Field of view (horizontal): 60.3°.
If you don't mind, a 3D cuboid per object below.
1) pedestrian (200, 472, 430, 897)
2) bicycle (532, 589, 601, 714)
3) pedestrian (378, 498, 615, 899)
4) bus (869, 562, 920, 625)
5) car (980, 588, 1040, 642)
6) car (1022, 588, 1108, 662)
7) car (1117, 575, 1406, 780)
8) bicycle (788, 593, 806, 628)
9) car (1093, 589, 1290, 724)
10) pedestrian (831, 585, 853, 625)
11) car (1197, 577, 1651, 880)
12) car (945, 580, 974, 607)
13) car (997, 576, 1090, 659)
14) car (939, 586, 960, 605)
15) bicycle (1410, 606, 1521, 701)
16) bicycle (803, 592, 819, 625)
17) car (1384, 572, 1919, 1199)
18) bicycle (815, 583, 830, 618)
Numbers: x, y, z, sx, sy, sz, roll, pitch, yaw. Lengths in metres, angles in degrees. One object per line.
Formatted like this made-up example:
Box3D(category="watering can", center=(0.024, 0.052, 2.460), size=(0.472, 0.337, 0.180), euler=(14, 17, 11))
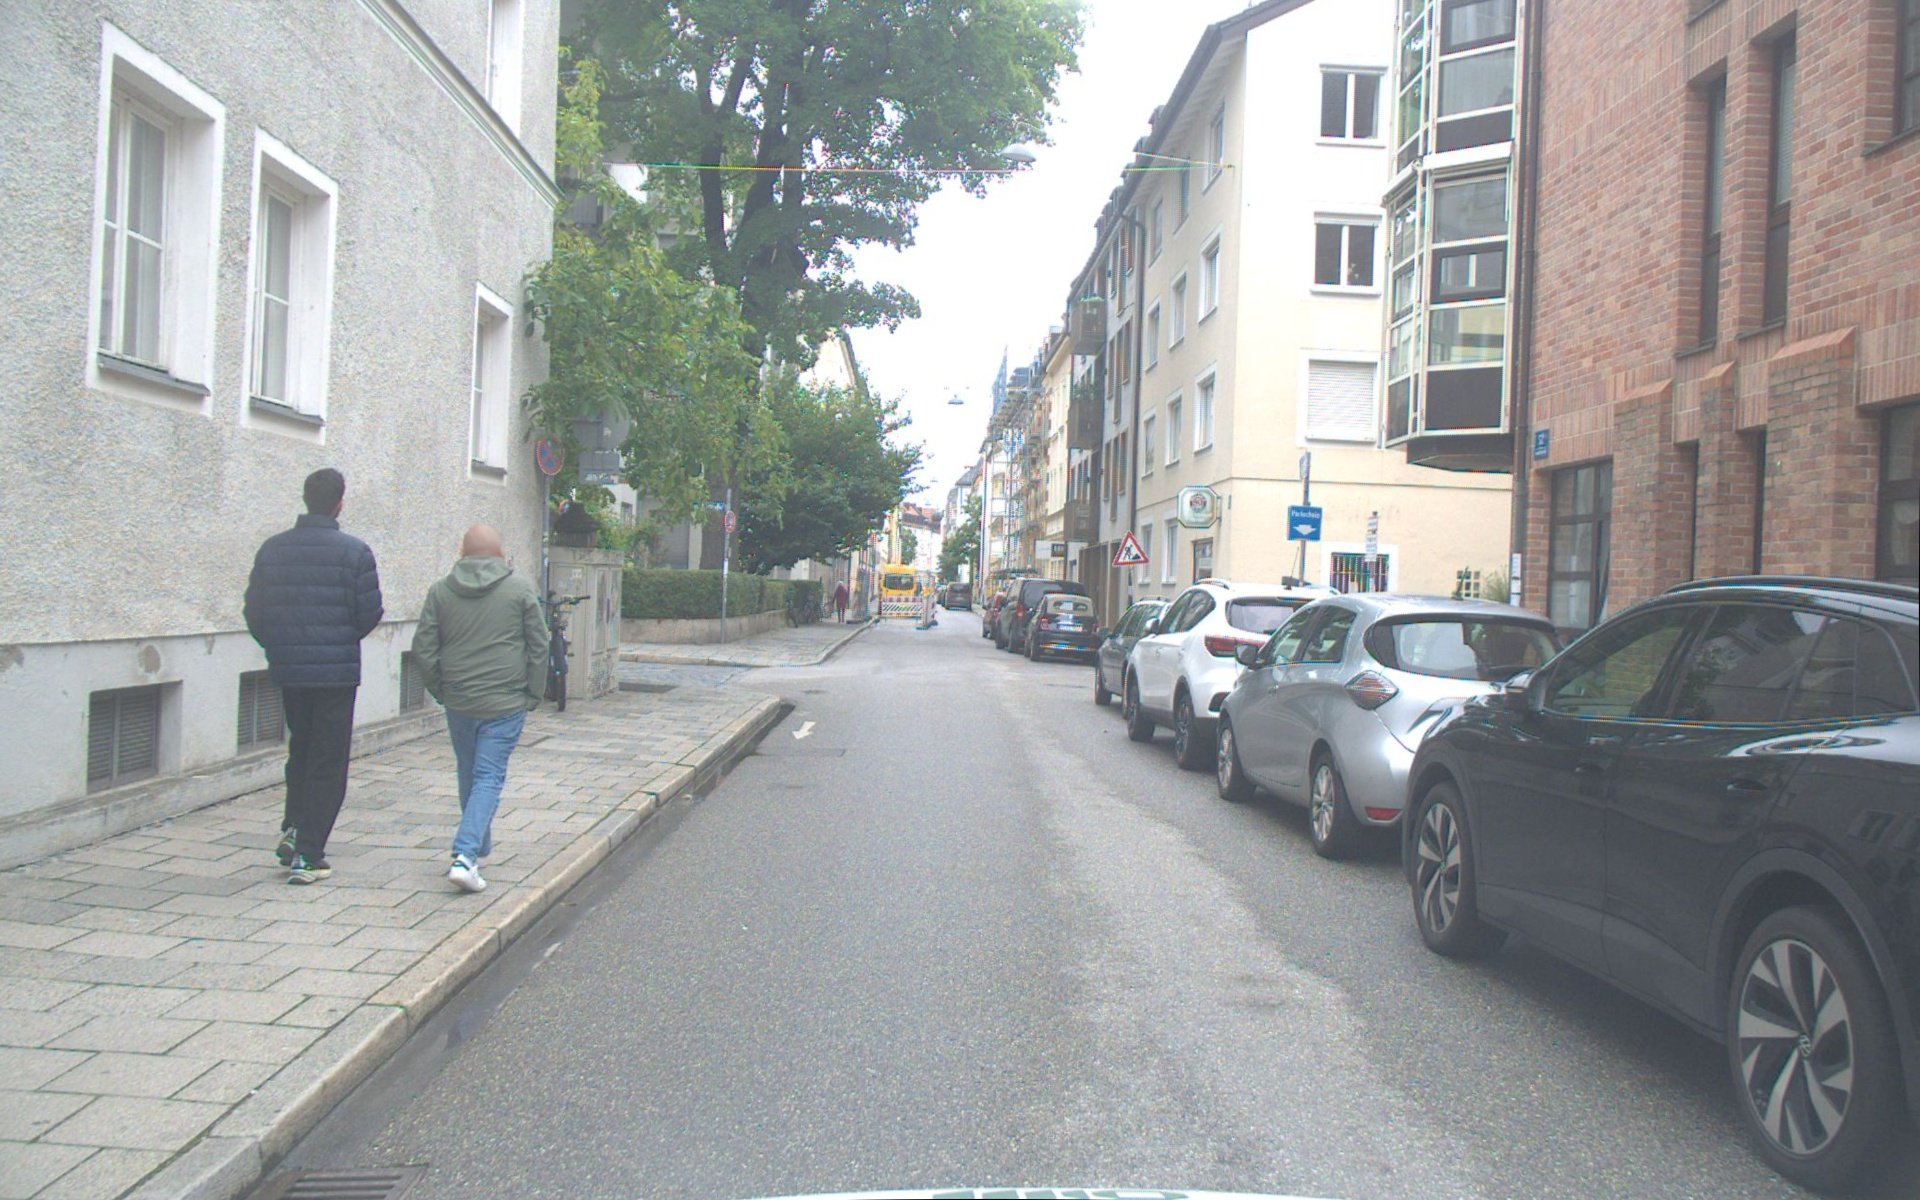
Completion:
Box3D(category="pedestrian", center=(-2.838, 0.357, 7.353), size=(0.600, 1.743, 0.823), euler=(4, 0, -2))
Box3D(category="bicycle", center=(-3.900, 0.479, 16.329), size=(0.465, 1.130, 1.751), euler=(2, 0, -19))
Box3D(category="pedestrian", center=(-2.106, 0.429, 7.631), size=(0.738, 1.687, 0.906), euler=(4, 0, -2))
Box3D(category="bus", center=(-3.404, -0.316, 87.640), size=(2.540, 3.156, 6.304), euler=(1, 0, -1))
Box3D(category="car", center=(1.597, 0.474, 54.032), size=(1.603, 1.540, 3.828), euler=(6, 0, -2))
Box3D(category="car", center=(2.351, 0.530, 37.809), size=(1.592, 1.513, 3.807), euler=(3, 0, -1))
Box3D(category="car", center=(2.713, 0.631, 15.831), size=(1.714, 1.658, 4.193), euler=(2, 0, -4))
Box3D(category="bicycle", center=(-4.940, 0.307, 50.183), size=(0.406, 1.038, 1.853), euler=(1, 0, -2))
Box3D(category="car", center=(2.819, 0.637, 20.988), size=(1.710, 1.470, 3.998), euler=(3, 0, -3))
Box3D(category="pedestrian", center=(-4.533, 0.192, 63.555), size=(0.741, 1.517, 0.831), euler=(1, 0, -1))
Box3D(category="car", center=(2.877, 0.721, 11.159), size=(1.687, 1.664, 3.877), euler=(1, 0, -5))
Box3D(category="car", center=(-0.037, -0.464, 119.836), size=(1.766, 1.741, 3.824), euler=(6, 0, -3))
Box3D(category="car", center=(2.076, 0.399, 42.162), size=(1.766, 1.851, 3.997), euler=(6, 0, -4))
Box3D(category="car", center=(-0.954, -0.396, 148.174), size=(1.765, 1.642, 3.999), euler=(3, 0, -1))
Box3D(category="bicycle", center=(6.705, 0.697, 21.999), size=(0.374, 1.179, 1.537), euler=(2, 0, -29))
Box3D(category="bicycle", center=(-5.011, 0.289, 55.719), size=(0.437, 1.092, 2.466), euler=(1, 0, -3))
Box3D(category="car", center=(3.094, 0.751, 5.701), size=(1.848, 1.582, 4.388), euler=(3, 0, -4))
Box3D(category="bicycle", center=(-5.696, 0.021, 68.505), size=(0.504, 1.442, 1.933), euler=(1, 0, -2))
